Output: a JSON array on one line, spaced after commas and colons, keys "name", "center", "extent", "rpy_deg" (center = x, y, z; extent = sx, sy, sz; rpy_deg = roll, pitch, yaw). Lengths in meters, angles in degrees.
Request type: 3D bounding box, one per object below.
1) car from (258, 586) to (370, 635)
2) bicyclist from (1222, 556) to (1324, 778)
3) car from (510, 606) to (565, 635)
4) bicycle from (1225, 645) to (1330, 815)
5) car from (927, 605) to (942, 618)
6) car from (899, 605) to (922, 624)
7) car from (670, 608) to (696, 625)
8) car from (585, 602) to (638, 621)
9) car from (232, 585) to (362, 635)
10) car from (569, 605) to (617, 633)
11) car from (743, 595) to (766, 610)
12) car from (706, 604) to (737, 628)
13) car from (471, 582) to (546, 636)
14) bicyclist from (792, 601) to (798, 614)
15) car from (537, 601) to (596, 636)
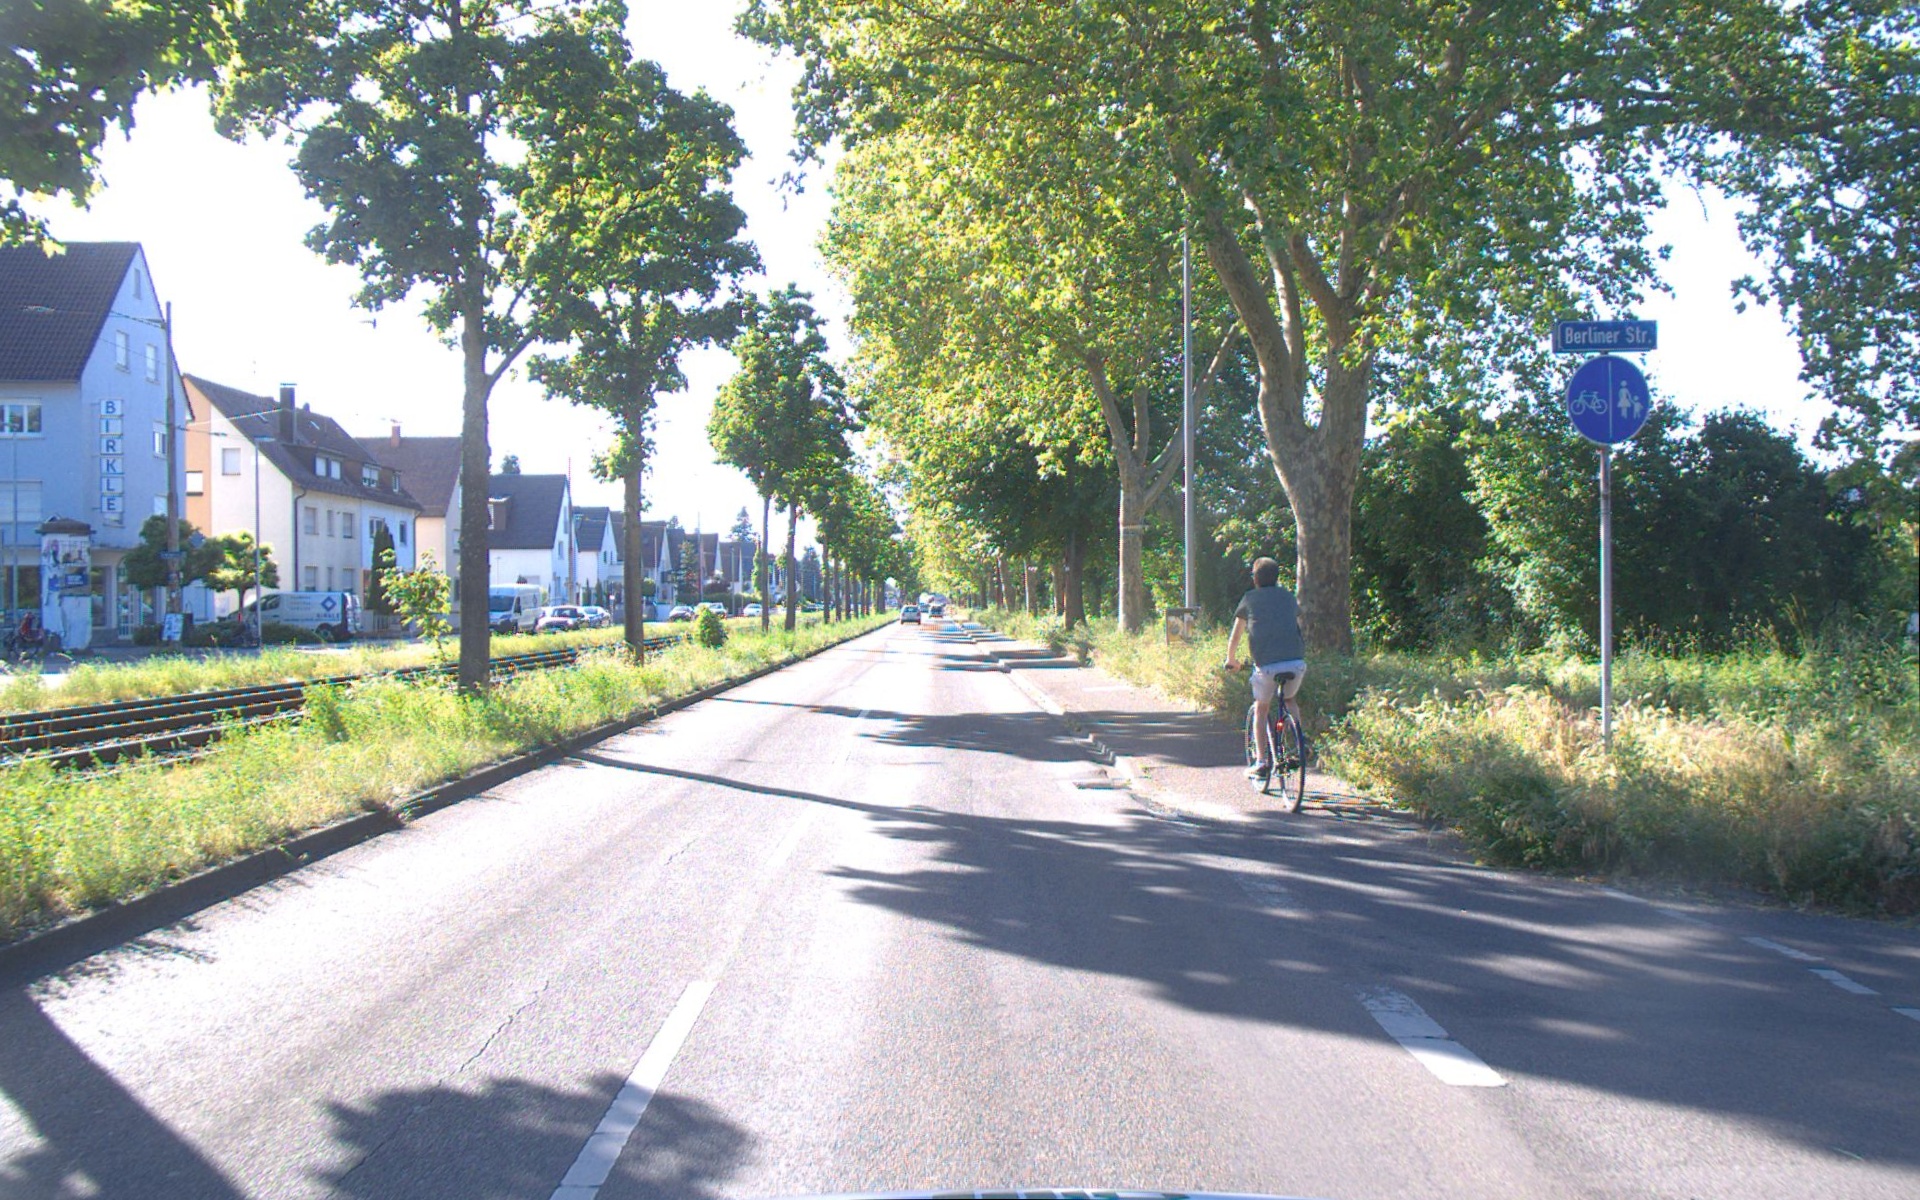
[{"name": "car", "center": [-27.132, 0.444, 69.616], "extent": [4.064, 1.986, 1.994], "rpy_deg": [1, -1, -12]}, {"name": "bicyclist", "center": [2.415, 0.497, 12.819], "extent": [0.601, 1.657, 0.909], "rpy_deg": [0, 0, -1]}, {"name": "car", "center": [-22.045, 1.090, 86.464], "extent": [1.787, 1.437, 4.656], "rpy_deg": [1, -1, -1]}, {"name": "bicycle", "center": [2.440, 0.962, 12.857], "extent": [0.431, 1.173, 1.823], "rpy_deg": [0, 0, -1]}, {"name": "car", "center": [-2.931, 1.349, 192.000], "extent": [1.725, 1.539, 3.276], "rpy_deg": [1, -1, 0]}, {"name": "car", "center": [-3.847, 1.140, 129.161], "extent": [1.703, 1.425, 3.275], "rpy_deg": [1, -1, -1]}, {"name": "car", "center": [-23.112, 1.395, 138.006], "extent": [1.463, 1.349, 4.000], "rpy_deg": [1, -1, 1]}, {"name": "car", "center": [-29.774, 0.989, 141.399], "extent": [4.130, 1.489, 1.936], "rpy_deg": [1, -1, -5]}, {"name": "car", "center": [-26.847, 0.408, 67.124], "extent": [4.535, 1.980, 1.994], "rpy_deg": [1, -1, -12]}, {"name": "car", "center": [-22.367, 1.140, 100.965], "extent": [1.953, 1.609, 4.497], "rpy_deg": [1, 0, 0]}, {"name": "car", "center": [-24.127, 0.290, 194.429], "extent": [1.952, 1.627, 4.732], "rpy_deg": [1, -1, 2]}, {"name": "car", "center": [-19.878, 1.343, 137.896], "extent": [1.876, 1.916, 4.523], "rpy_deg": [1, -1, 0]}, {"name": "car", "center": [-21.943, 0.481, 80.653], "extent": [1.953, 2.502, 6.672], "rpy_deg": [1, -1, -1]}, {"name": "bicyclist", "center": [-21.799, 0.956, 218.173], "extent": [0.674, 1.681, 0.881], "rpy_deg": [2, -1, -1]}, {"name": "car", "center": [-16.947, 0.776, 71.333], "extent": [1.642, 1.434, 3.999], "rpy_deg": [0, 0, -1]}]
